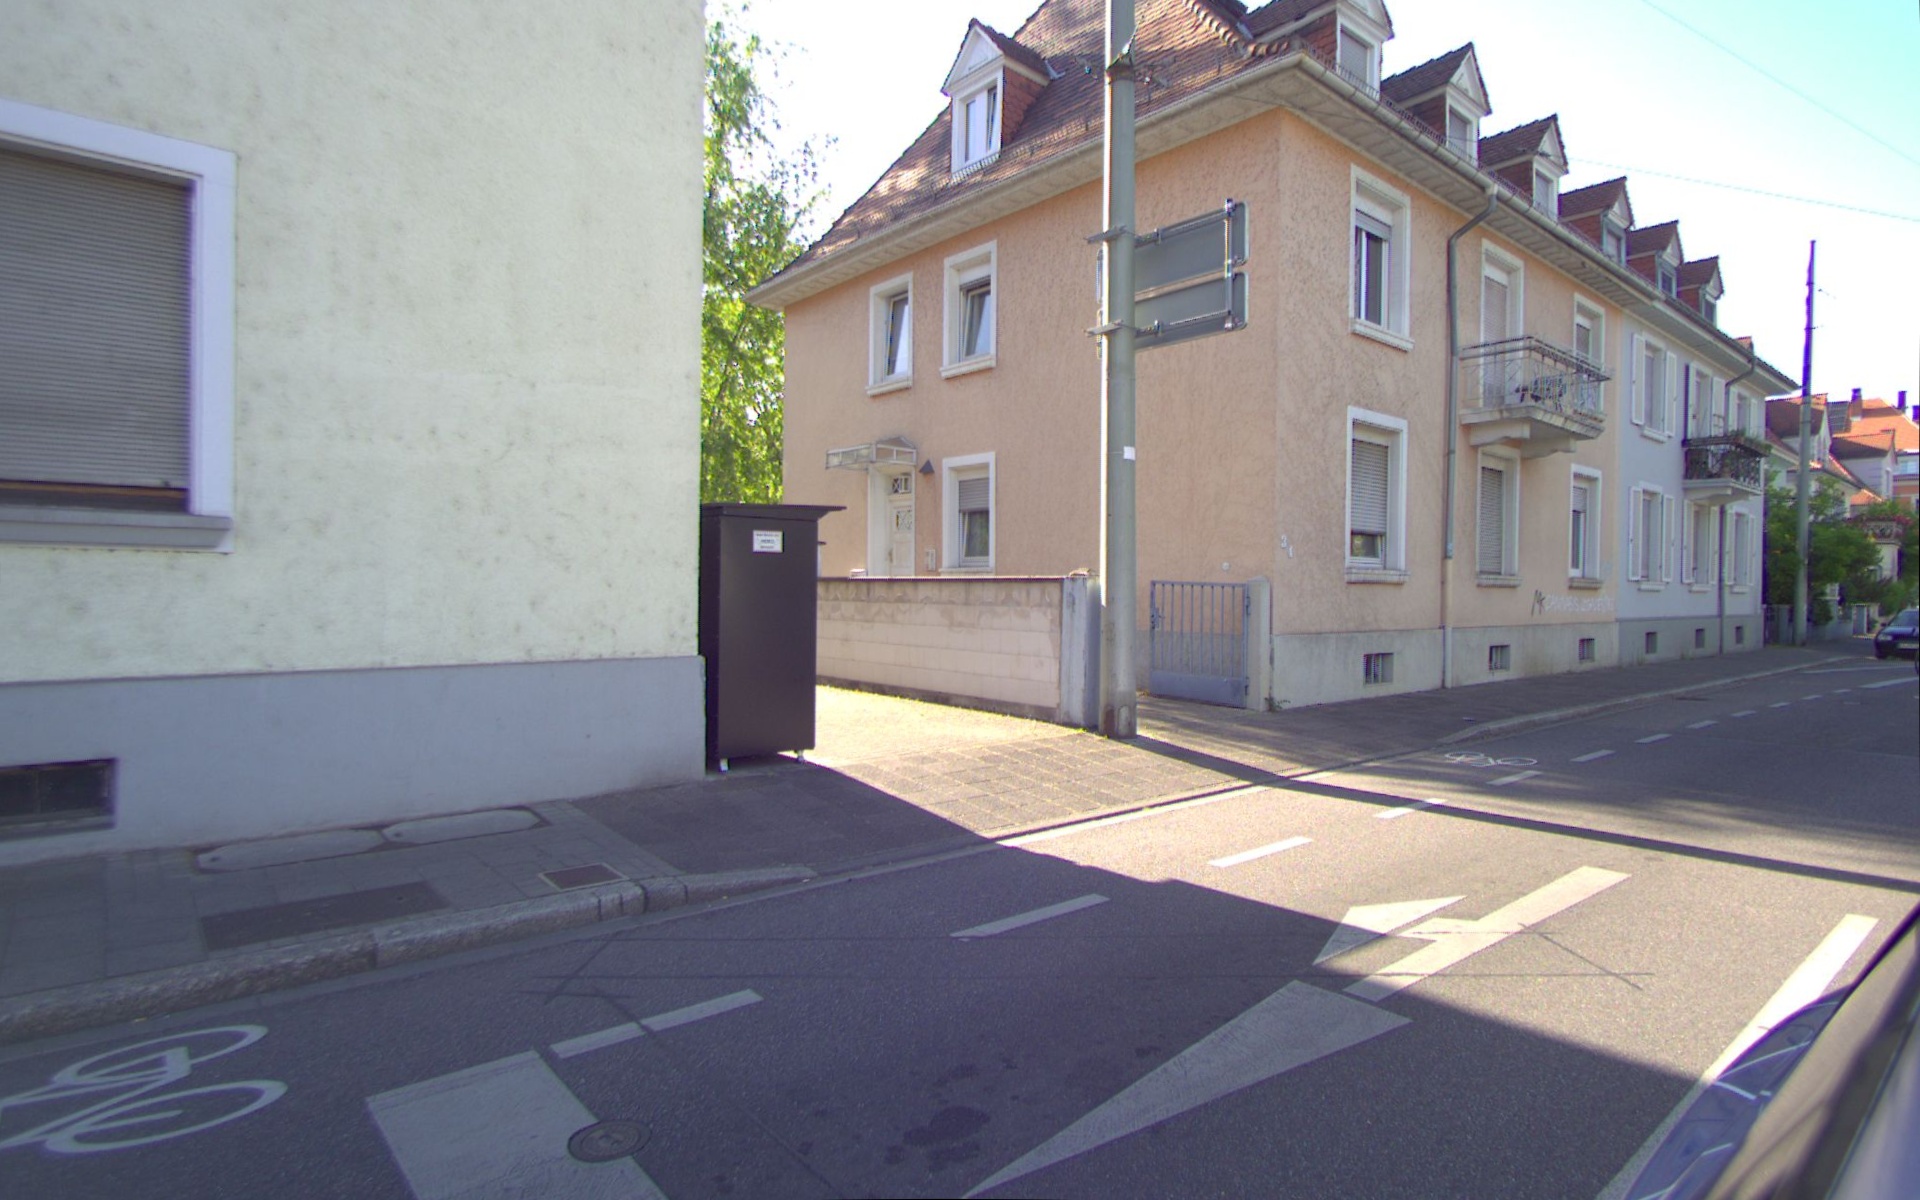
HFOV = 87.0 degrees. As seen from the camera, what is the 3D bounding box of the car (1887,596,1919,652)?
[{"bbox_3d":[26.704,0.626,27.401,4.347,1.425,1.866,0,1,-41],"label":"car"}]
